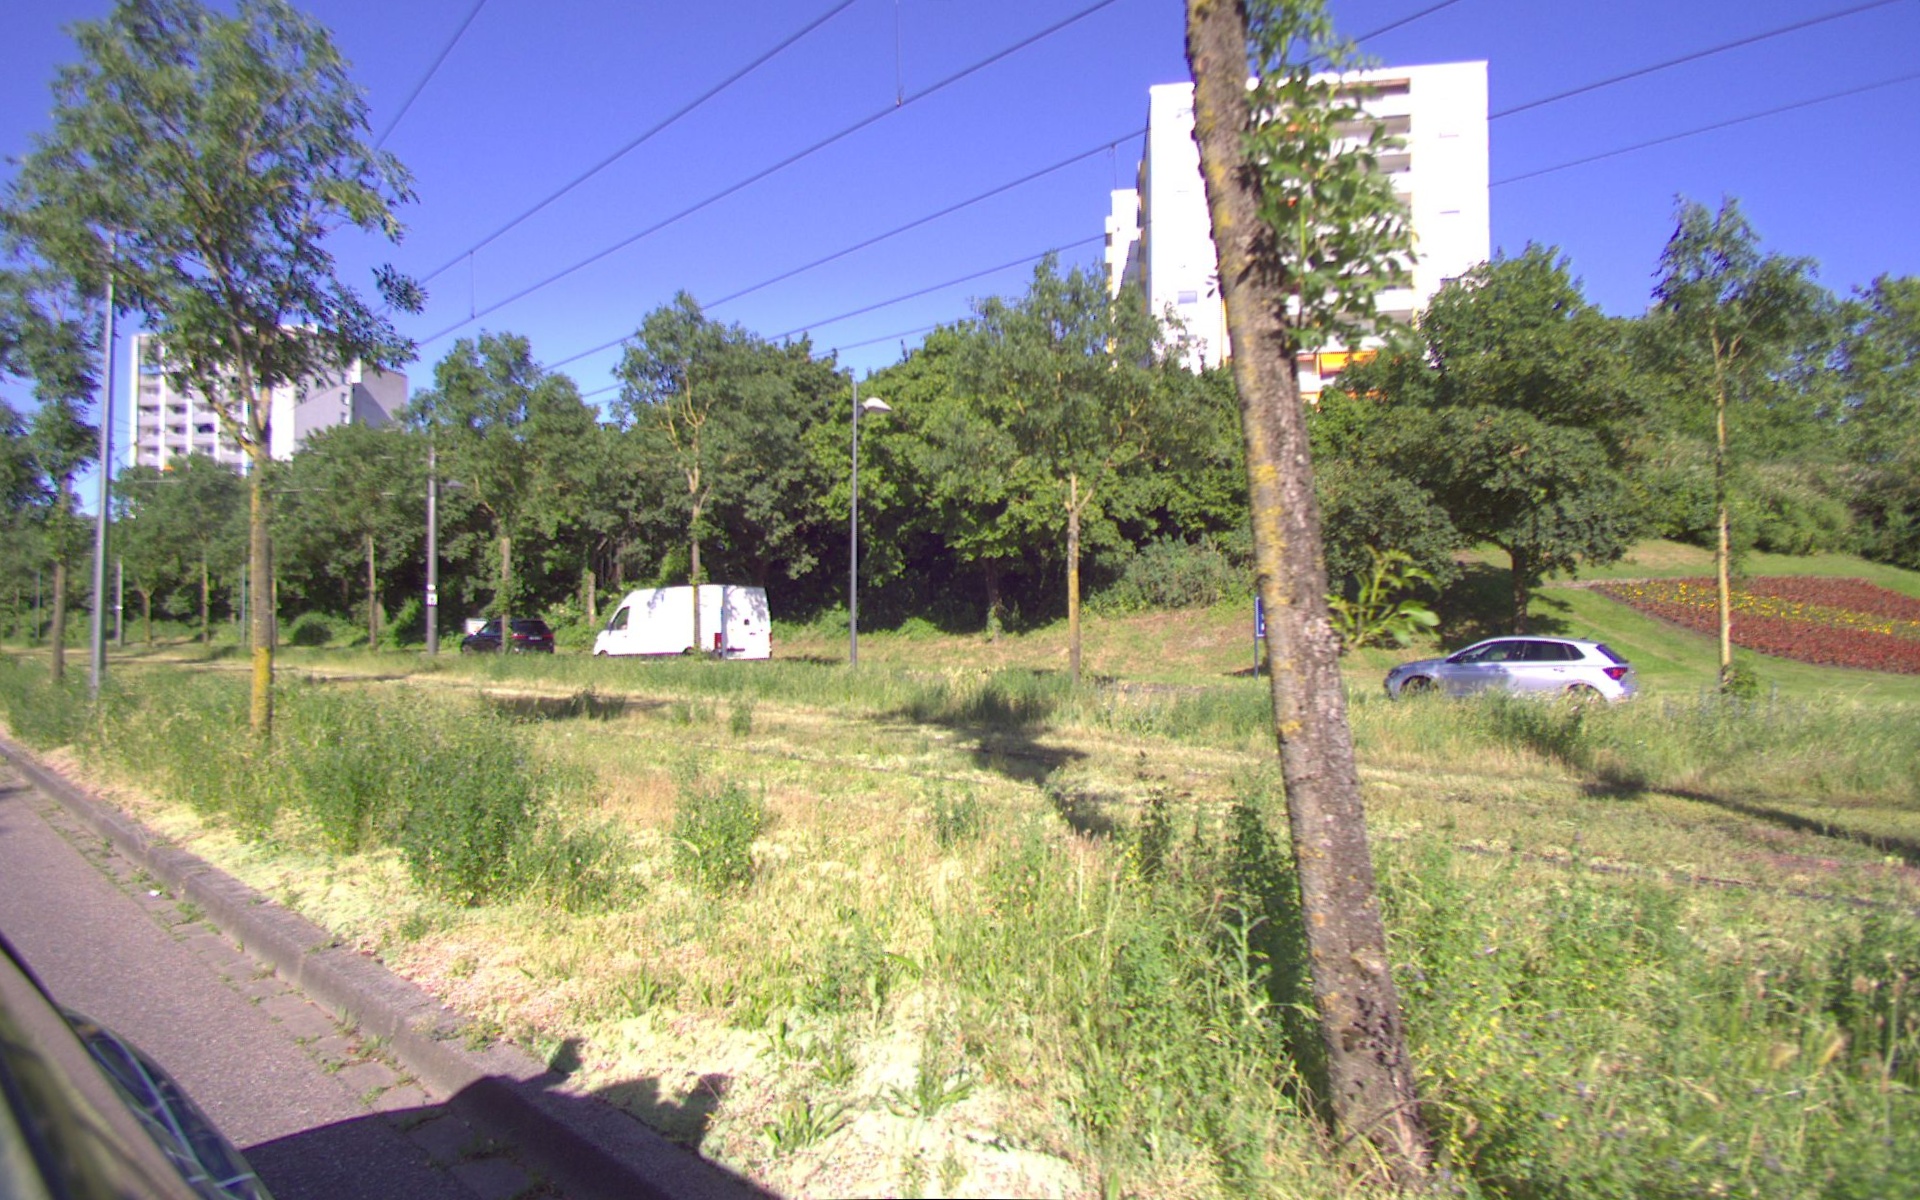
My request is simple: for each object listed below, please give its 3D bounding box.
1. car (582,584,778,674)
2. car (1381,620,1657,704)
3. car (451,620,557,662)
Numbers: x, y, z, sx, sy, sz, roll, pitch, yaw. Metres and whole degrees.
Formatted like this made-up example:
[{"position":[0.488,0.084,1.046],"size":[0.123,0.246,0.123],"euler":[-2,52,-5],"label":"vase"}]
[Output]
[{"position":[-8.366,0.829,29.701],"size":[6.875,2.387,2.019],"euler":[-1,-1,40],"label":"car"},{"position":[9.850,1.035,17.991],"size":[3.999,1.302,1.779],"euler":[-2,-1,42],"label":"car"},{"position":[-18.900,1.670,41.806],"size":[5.270,1.596,1.973],"euler":[-1,-1,41],"label":"car"}]
